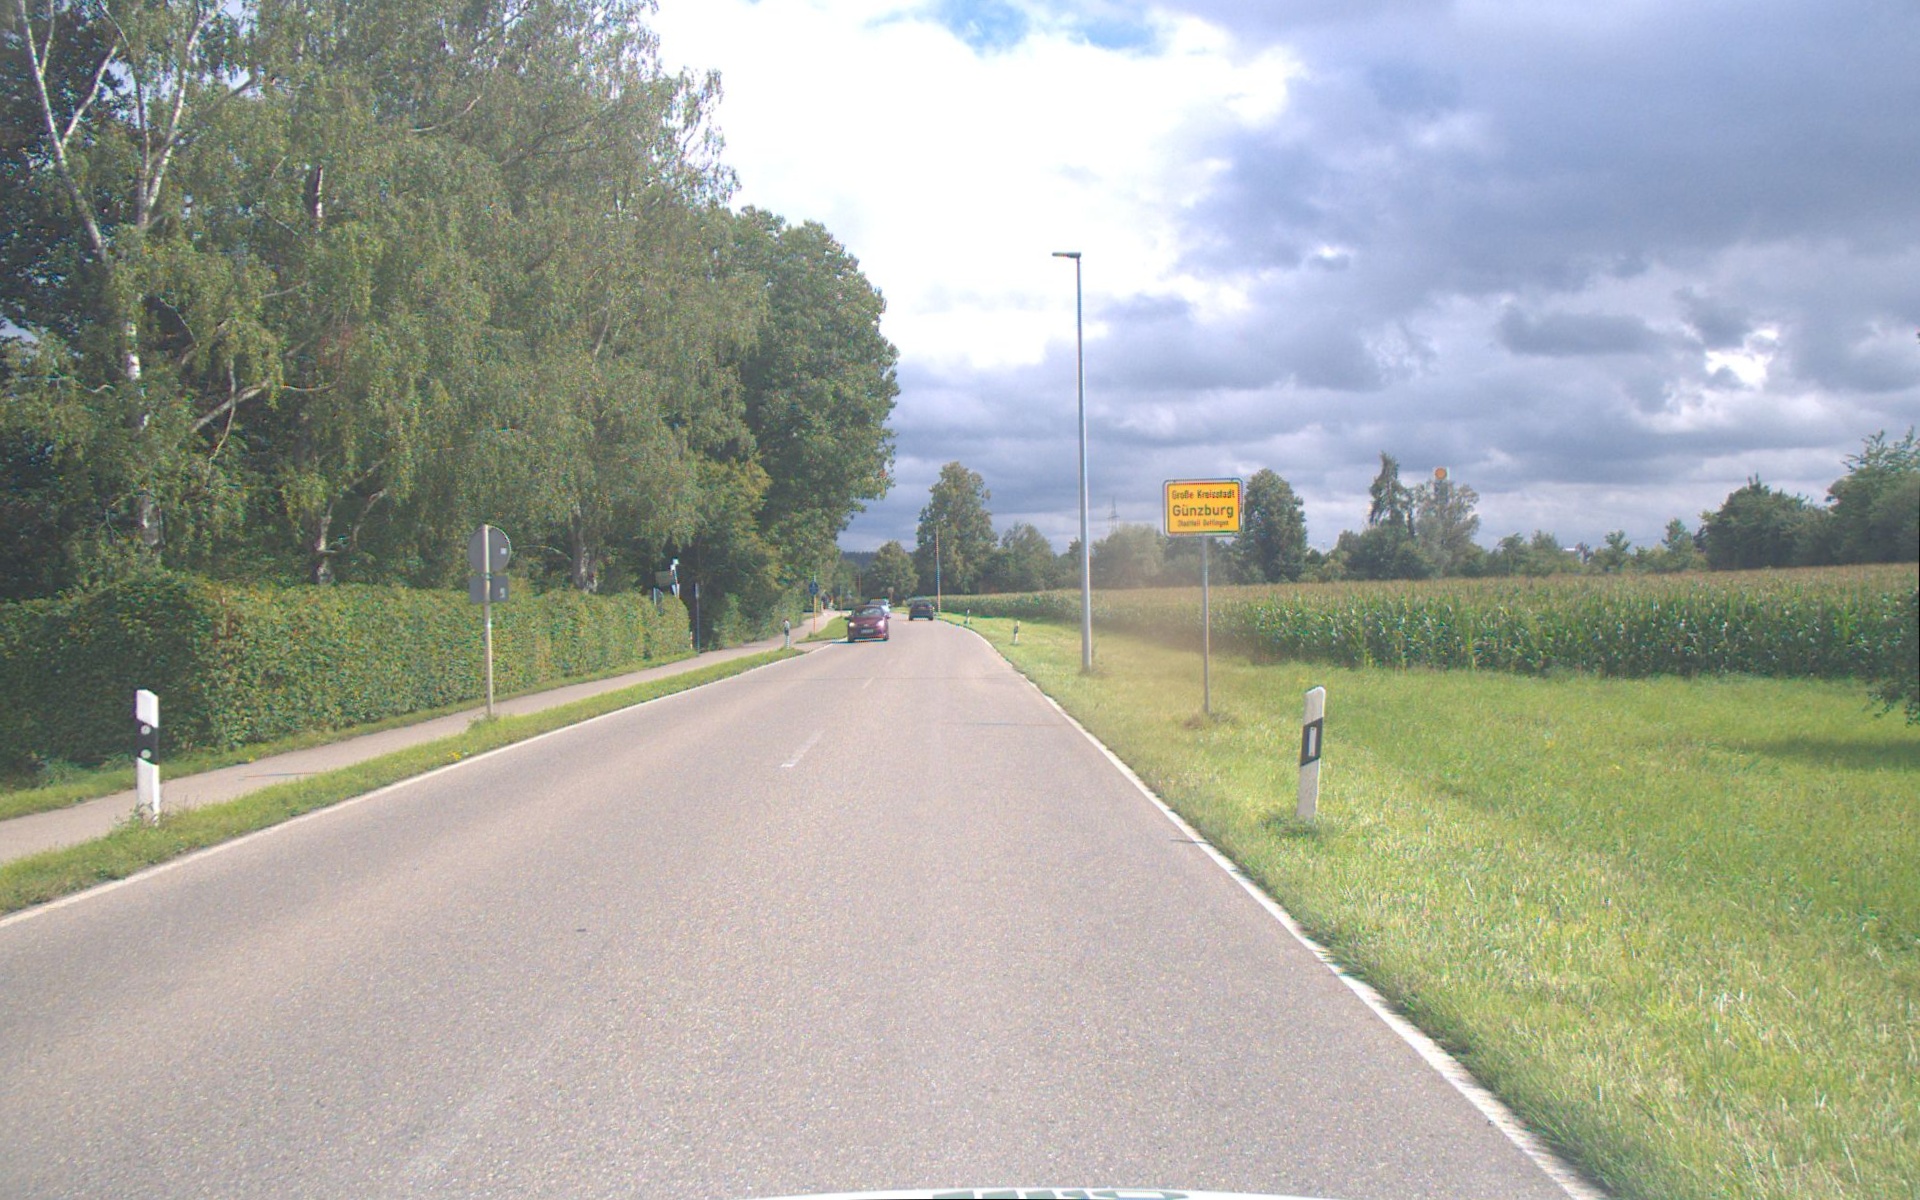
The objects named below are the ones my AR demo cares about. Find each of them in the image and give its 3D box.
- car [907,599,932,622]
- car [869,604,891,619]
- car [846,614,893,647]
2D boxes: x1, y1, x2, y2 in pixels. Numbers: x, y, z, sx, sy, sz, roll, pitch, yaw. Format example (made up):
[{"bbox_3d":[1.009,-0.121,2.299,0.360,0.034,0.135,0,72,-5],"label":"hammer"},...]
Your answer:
[{"bbox_3d":[-3.228,0.823,130.963,1.868,1.695,3.999,-2,0,-1],"label":"car"},{"bbox_3d":[-6.804,0.984,141.576,1.710,1.243,3.542,-2,0,-1],"label":"car"},{"bbox_3d":[-3.731,1.256,68.612,1.710,1.243,3.542,-2,0,-1],"label":"car"}]
